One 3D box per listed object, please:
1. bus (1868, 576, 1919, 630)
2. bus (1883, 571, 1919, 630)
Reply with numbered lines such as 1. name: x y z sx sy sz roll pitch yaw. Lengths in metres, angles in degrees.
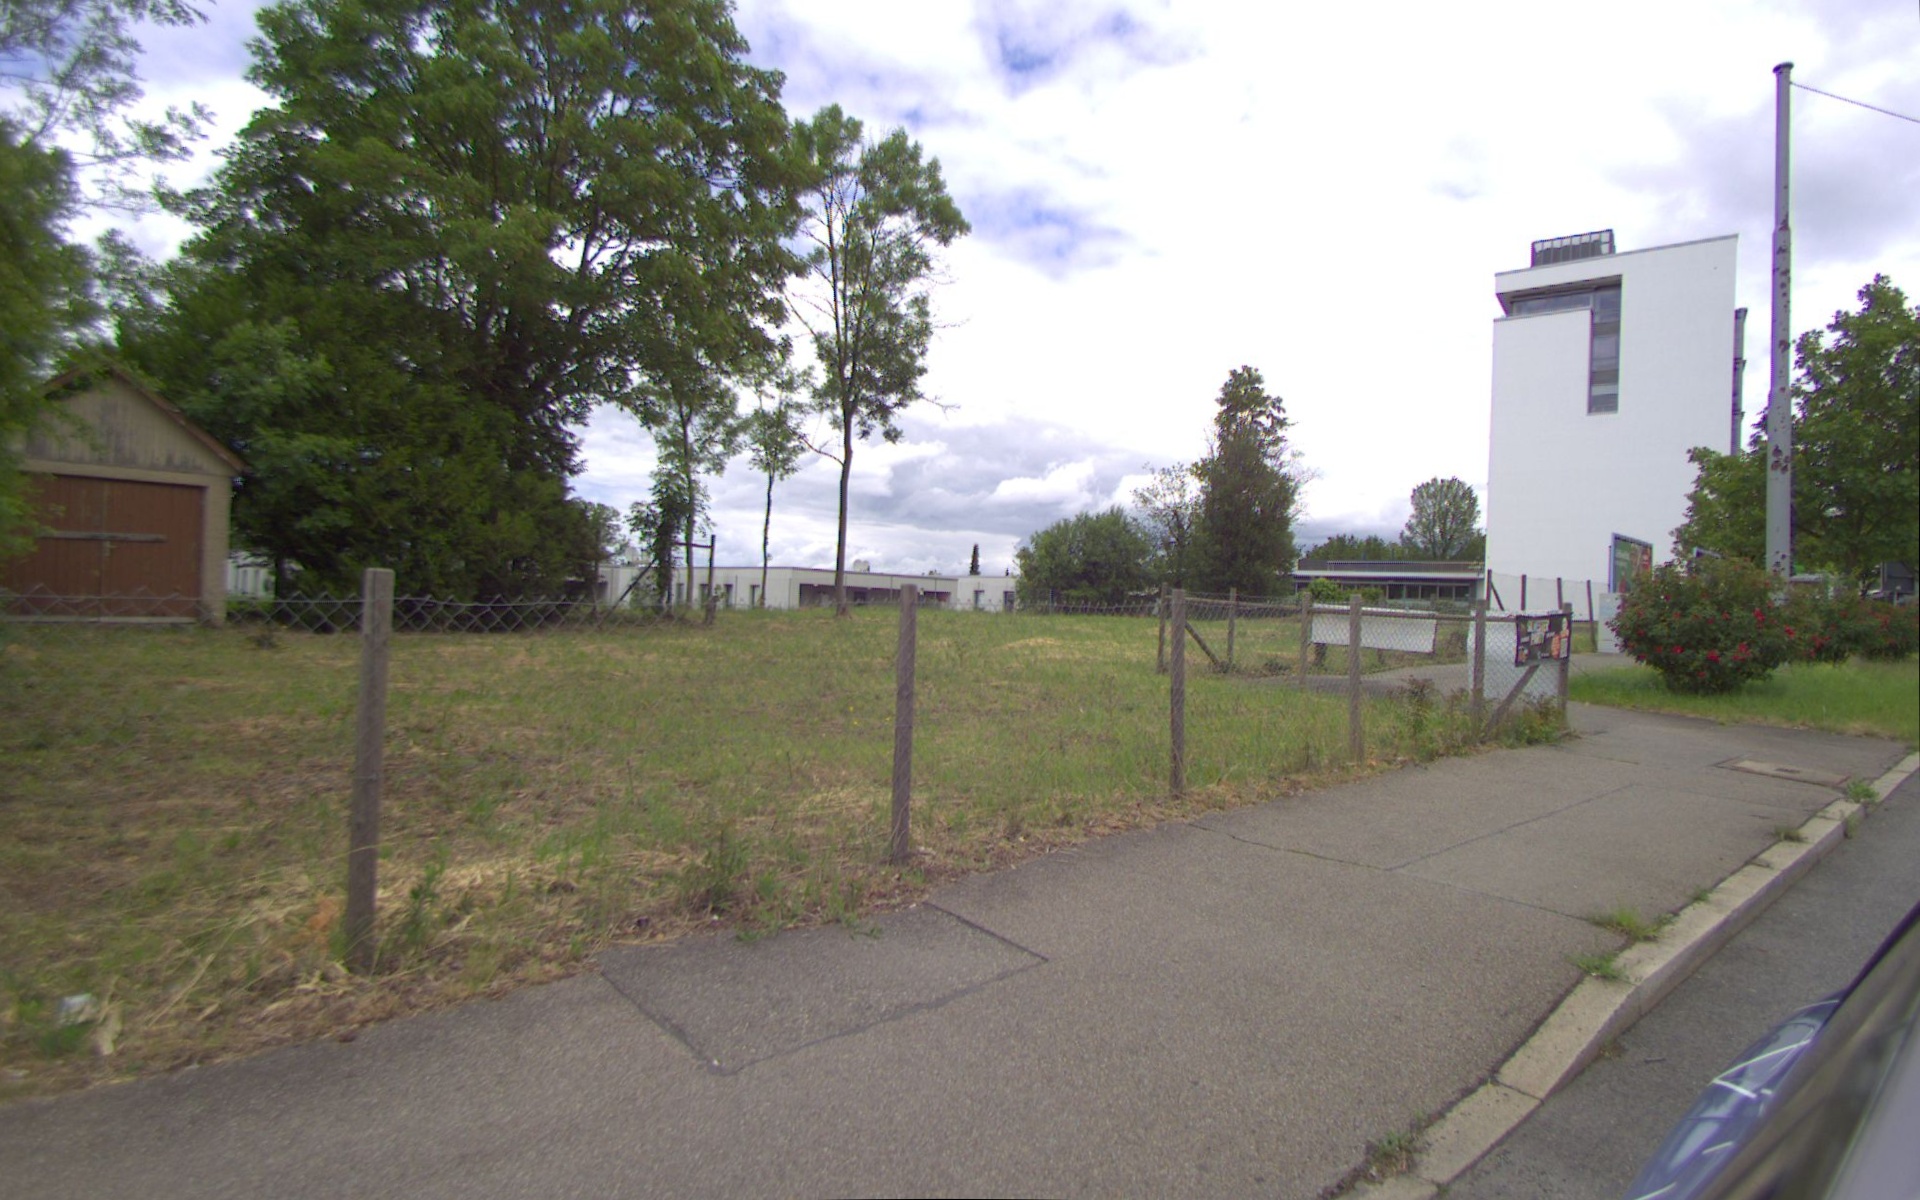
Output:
1. bus: 62.302 0.295 66.744 2.709 3.145 8.746 8 4 38
2. bus: 56.922 0.169 59.682 2.708 3.202 9.001 6 3 37
